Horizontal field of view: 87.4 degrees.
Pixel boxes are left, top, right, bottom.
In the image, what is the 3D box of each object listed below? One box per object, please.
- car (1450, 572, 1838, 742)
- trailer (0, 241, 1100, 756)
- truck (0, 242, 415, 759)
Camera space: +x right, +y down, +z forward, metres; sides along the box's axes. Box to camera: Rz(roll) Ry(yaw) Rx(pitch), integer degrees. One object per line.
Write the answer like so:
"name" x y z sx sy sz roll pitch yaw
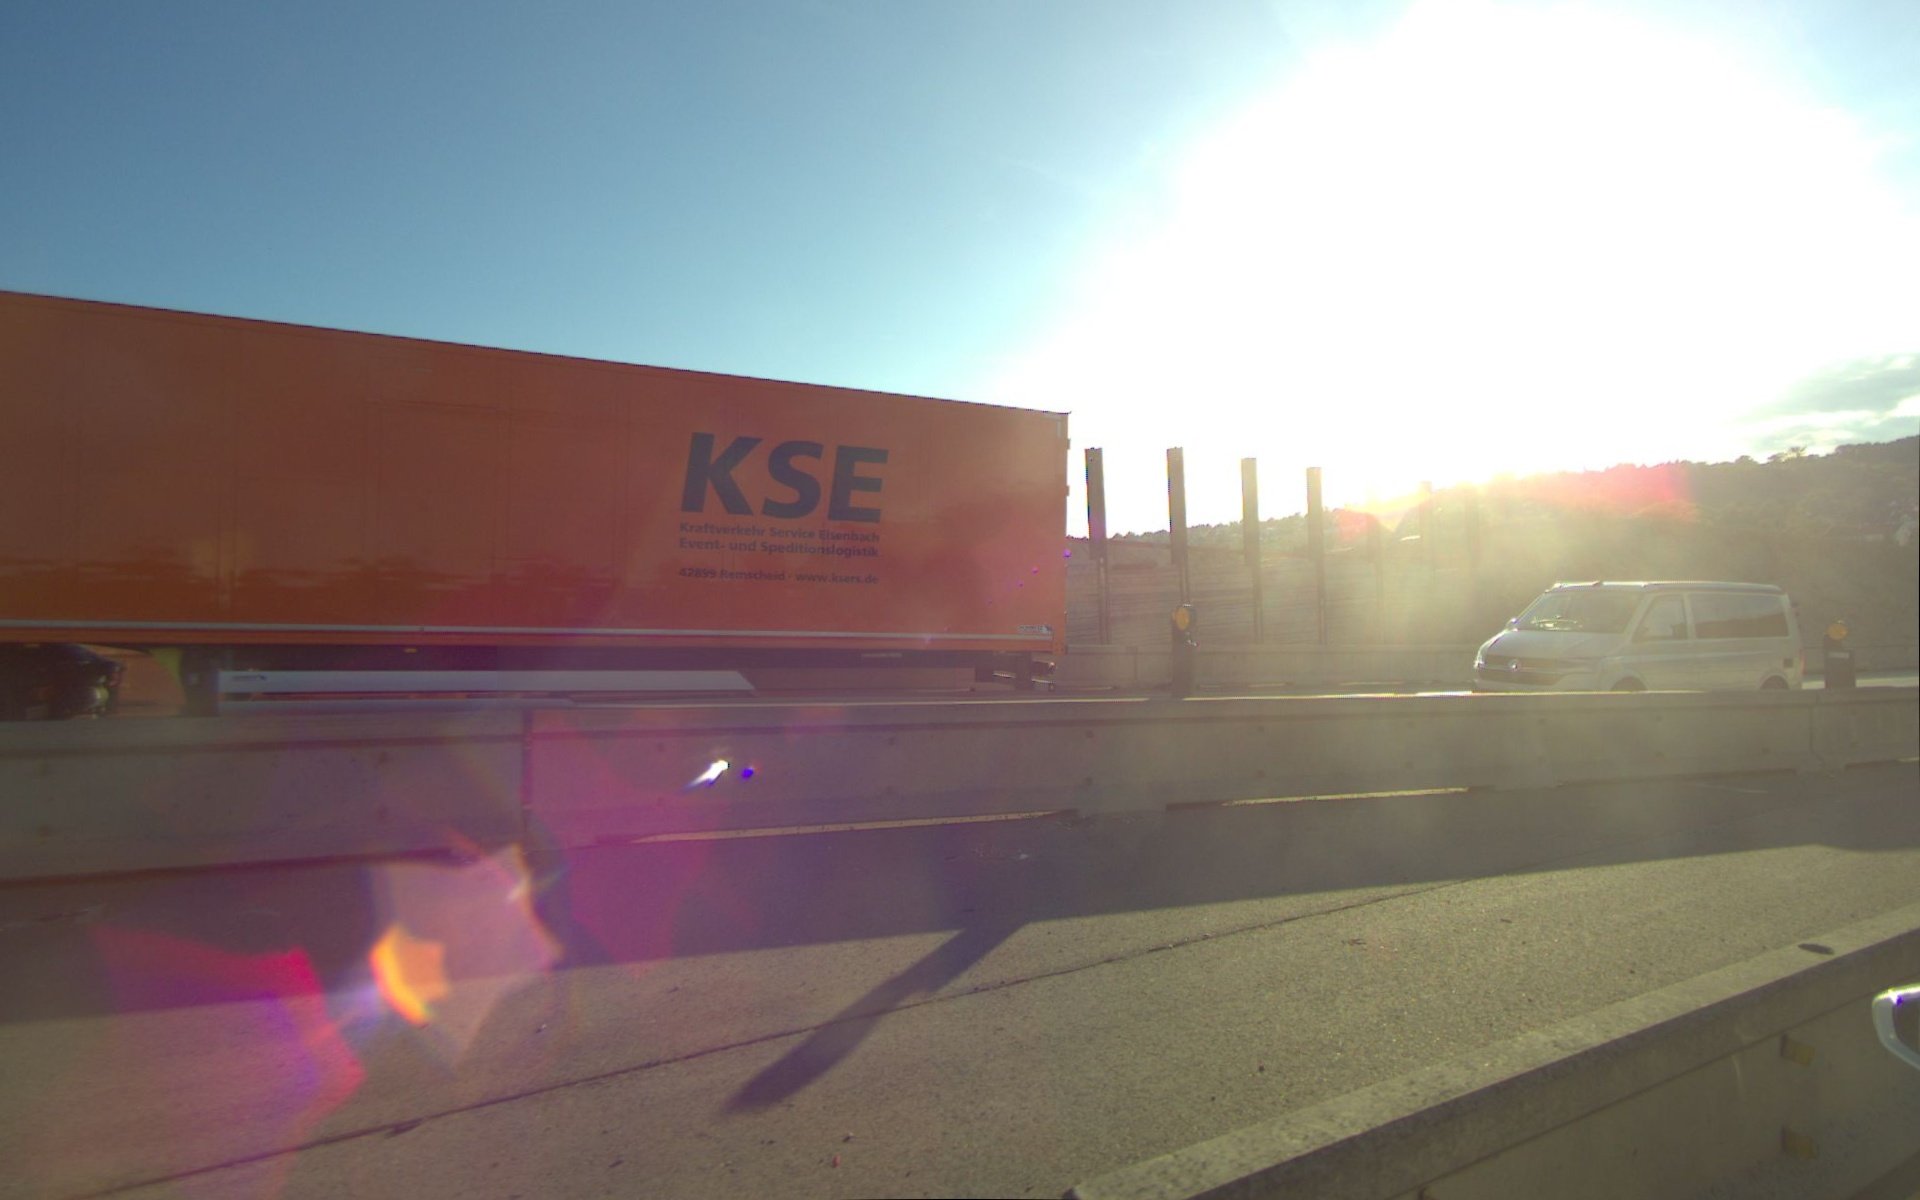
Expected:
"car" 9.551 0.707 14.001 5.182 2.040 1.989 1 1 -23
"trailer" -5.097 -0.827 11.681 13.934 4.531 2.578 1 1 -23
"truck" -10.015 -0.907 9.547 8.214 4.531 2.577 1 1 -23
